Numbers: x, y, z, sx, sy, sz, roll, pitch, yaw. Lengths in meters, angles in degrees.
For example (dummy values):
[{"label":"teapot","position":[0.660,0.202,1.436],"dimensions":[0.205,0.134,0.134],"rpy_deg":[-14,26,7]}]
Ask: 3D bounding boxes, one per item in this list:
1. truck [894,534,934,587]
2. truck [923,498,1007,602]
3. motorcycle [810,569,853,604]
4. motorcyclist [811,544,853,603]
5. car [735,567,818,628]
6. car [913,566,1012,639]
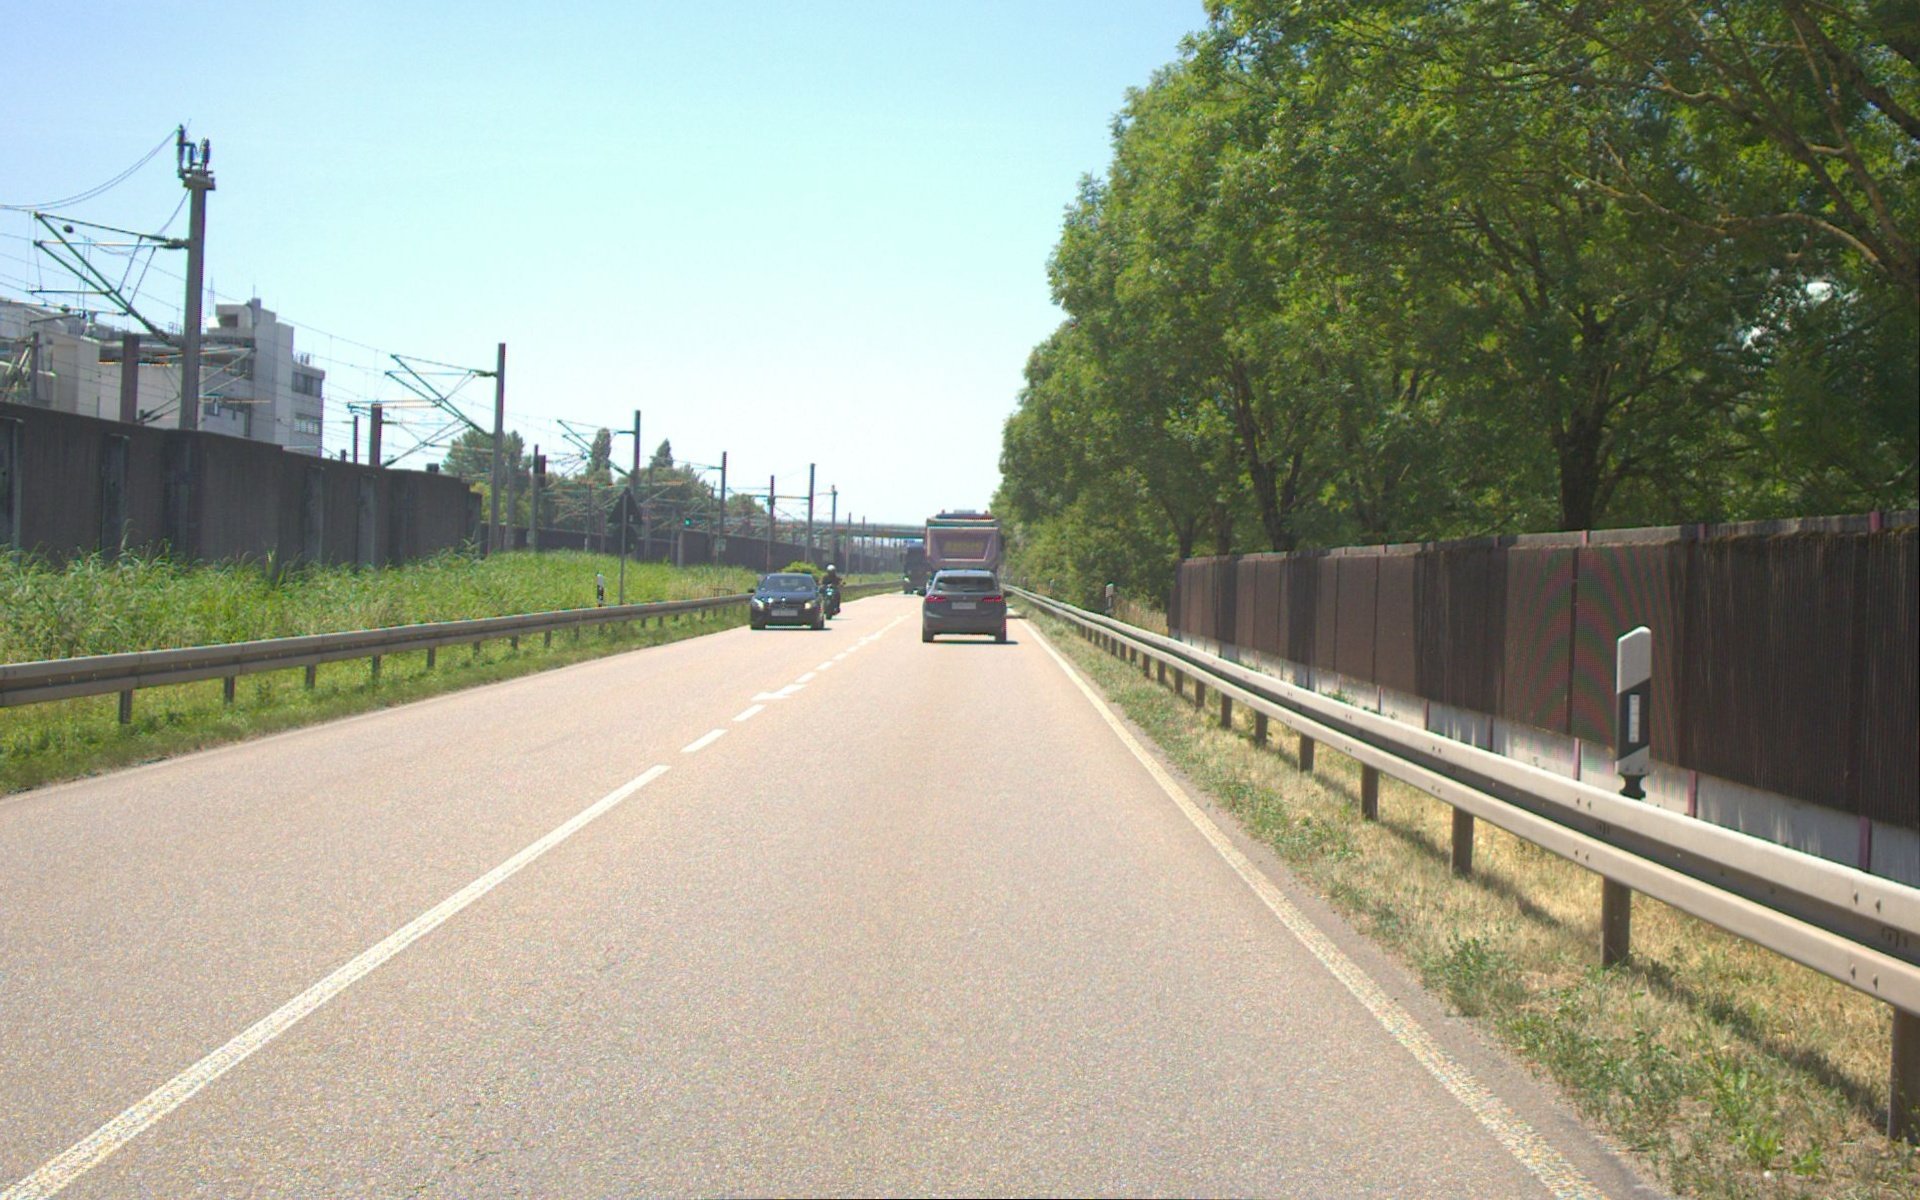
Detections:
[{"label":"truck","position":[-3.482,-2.996,261.317],"dimensions":[2.797,3.964,10.500],"rpy_deg":[1,1,0]},{"label":"truck","position":[0.192,-1.712,120.854],"dimensions":[2.770,3.414,10.819],"rpy_deg":[1,0,0]},{"label":"motorcycle","position":[-4.050,-0.447,108.964],"dimensions":[1.237,1.069,3.129],"rpy_deg":[1,1,0]},{"label":"motorcyclist","position":[-4.048,-0.839,108.879],"dimensions":[1.254,1.858,1.245],"rpy_deg":[1,0,0]},{"label":"car","position":[-4.702,-0.076,88.536],"dimensions":[1.993,1.503,4.000],"rpy_deg":[1,1,-1]},{"label":"car","position":[0.027,0.034,74.461],"dimensions":[1.993,1.503,4.000],"rpy_deg":[1,1,-2]}]
